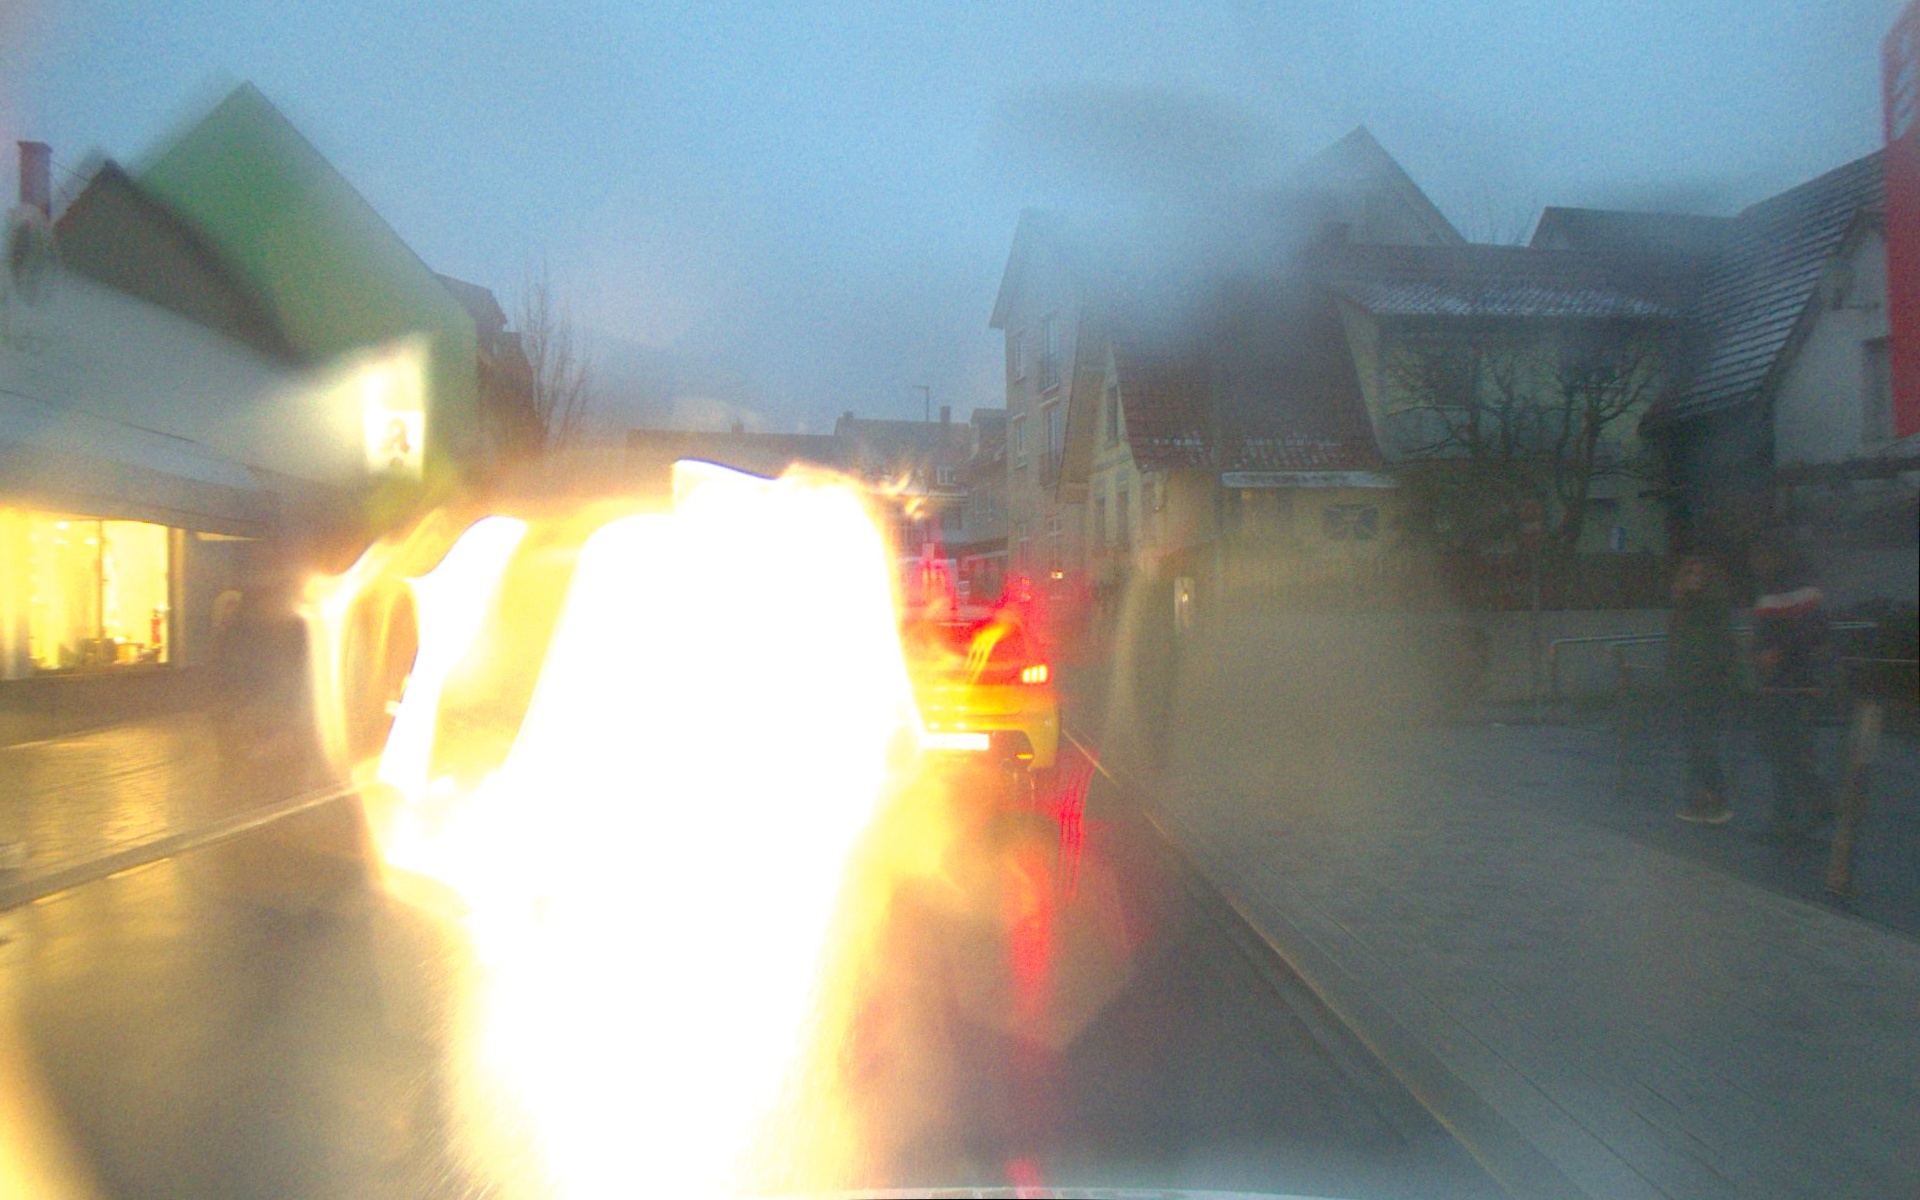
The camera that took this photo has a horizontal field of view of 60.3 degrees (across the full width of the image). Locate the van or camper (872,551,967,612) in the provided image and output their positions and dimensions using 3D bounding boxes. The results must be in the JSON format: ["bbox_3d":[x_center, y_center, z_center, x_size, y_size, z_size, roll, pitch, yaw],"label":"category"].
[{"bbox_3d":[-2.275,-0.993,90.595,2.618,3.100,6.680,-4,2,-25],"label":"van or camper"}]

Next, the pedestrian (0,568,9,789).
[{"bbox_3d":[-8.812,0.674,13.955,0.988,1.909,0.943,0,0,8],"label":"pedestrian"}]

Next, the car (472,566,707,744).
[{"bbox_3d":[-4.158,0.518,19.384,1.954,1.735,4.963,2,1,-5],"label":"car"}]

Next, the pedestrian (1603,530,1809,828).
[{"bbox_3d":[4.590,0.465,10.227,0.819,1.735,0.845,-2,0,-3],"label":"pedestrian"}]

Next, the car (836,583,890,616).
[{"bbox_3d":[-5.275,-0.001,89.640,1.962,1.639,4.154,-2,0,-17],"label":"car"}]

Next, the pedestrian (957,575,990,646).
[{"bbox_3d":[0.340,0.254,41.693,0.731,1.759,0.872,0,1,-6],"label":"pedestrian"}]

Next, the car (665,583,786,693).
[{"bbox_3d":[-4.069,0.593,29.237,1.914,1.573,4.411,-2,3,-6],"label":"car"}]

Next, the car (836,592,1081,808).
[{"bbox_3d":[-0.149,0.741,14.081,1.779,1.560,3.996,1,0,-4],"label":"car"}]

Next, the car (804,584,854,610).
[{"bbox_3d":[-8.025,-0.207,101.274,1.797,1.487,4.519,-2,1,-22],"label":"car"}]

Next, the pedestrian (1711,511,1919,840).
[{"bbox_3d":[4.801,0.399,9.265,0.690,1.735,0.914,-1,0,-6],"label":"pedestrian"}]

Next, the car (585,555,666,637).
[{"bbox_3d":[-11.350,-0.084,56.496,2.440,2.605,6.745,1,-1,-10],"label":"car"}]

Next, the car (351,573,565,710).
[{"bbox_3d":[-7.016,0.539,23.627,1.843,1.740,4.709,1,0,-3],"label":"car"}]

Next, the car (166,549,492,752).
[{"bbox_3d":[-6.410,0.439,17.471,2.046,1.823,5.016,0,0,-7],"label":"car"}]

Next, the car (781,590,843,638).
[{"bbox_3d":[-5.359,0.491,59.527,1.956,1.616,3.992,1,0,-9],"label":"car"}]
